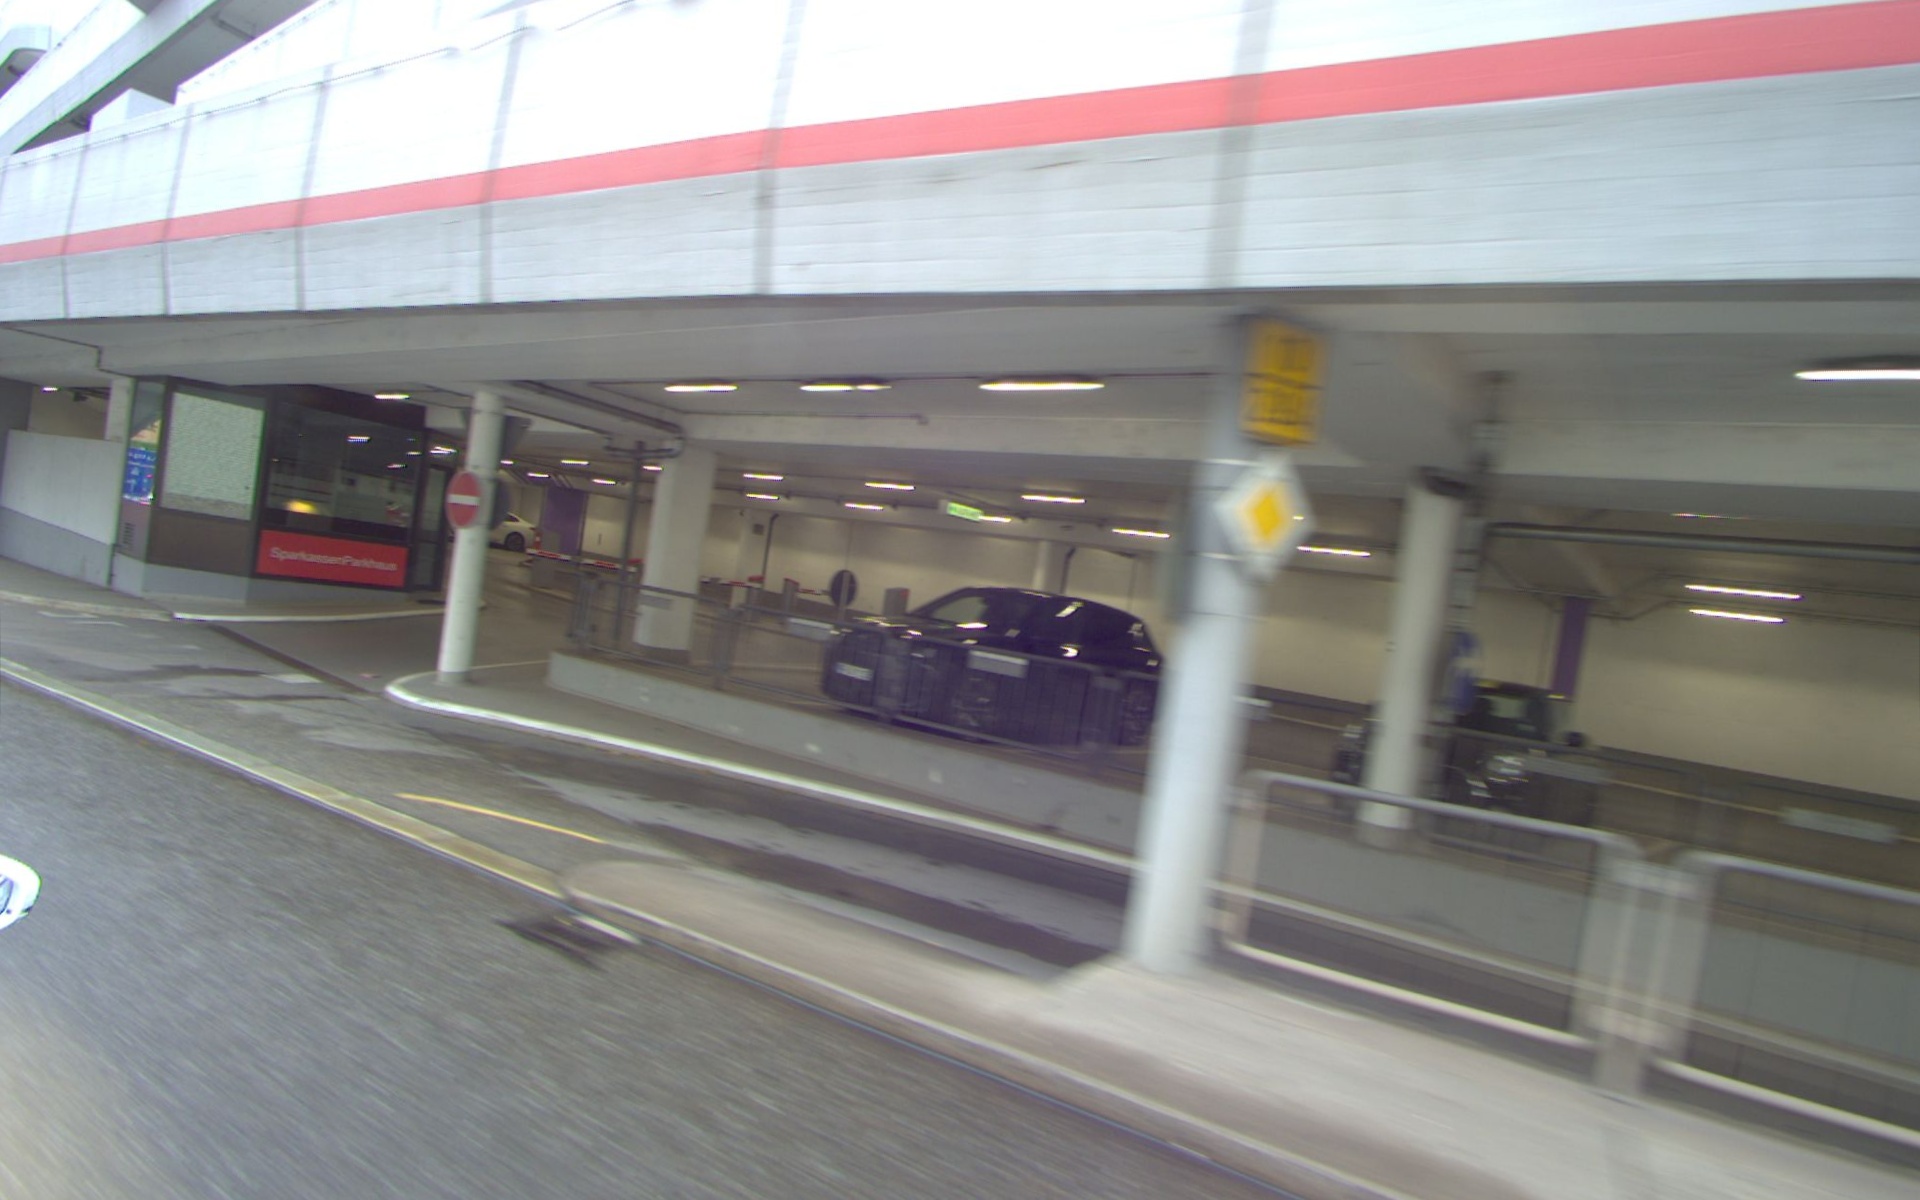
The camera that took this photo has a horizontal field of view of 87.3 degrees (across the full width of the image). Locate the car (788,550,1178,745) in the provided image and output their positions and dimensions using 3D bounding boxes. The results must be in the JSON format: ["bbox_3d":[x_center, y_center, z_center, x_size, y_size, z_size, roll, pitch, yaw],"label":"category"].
[{"bbox_3d":[0.480,0.653,11.561,1.797,1.658,4.572,6,-3,42],"label":"car"}]

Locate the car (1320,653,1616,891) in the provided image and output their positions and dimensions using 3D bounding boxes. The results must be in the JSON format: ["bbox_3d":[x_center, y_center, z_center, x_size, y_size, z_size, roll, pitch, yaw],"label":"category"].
[{"bbox_3d":[4.963,1.452,9.554,1.779,1.524,3.723,9,1,36],"label":"car"}]

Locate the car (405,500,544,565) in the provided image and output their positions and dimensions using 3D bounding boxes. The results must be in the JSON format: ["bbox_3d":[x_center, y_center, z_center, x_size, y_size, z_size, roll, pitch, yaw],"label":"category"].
[{"bbox_3d":[-17.688,-2.444,36.801,1.972,1.658,3.987,6,-3,40],"label":"car"}]
